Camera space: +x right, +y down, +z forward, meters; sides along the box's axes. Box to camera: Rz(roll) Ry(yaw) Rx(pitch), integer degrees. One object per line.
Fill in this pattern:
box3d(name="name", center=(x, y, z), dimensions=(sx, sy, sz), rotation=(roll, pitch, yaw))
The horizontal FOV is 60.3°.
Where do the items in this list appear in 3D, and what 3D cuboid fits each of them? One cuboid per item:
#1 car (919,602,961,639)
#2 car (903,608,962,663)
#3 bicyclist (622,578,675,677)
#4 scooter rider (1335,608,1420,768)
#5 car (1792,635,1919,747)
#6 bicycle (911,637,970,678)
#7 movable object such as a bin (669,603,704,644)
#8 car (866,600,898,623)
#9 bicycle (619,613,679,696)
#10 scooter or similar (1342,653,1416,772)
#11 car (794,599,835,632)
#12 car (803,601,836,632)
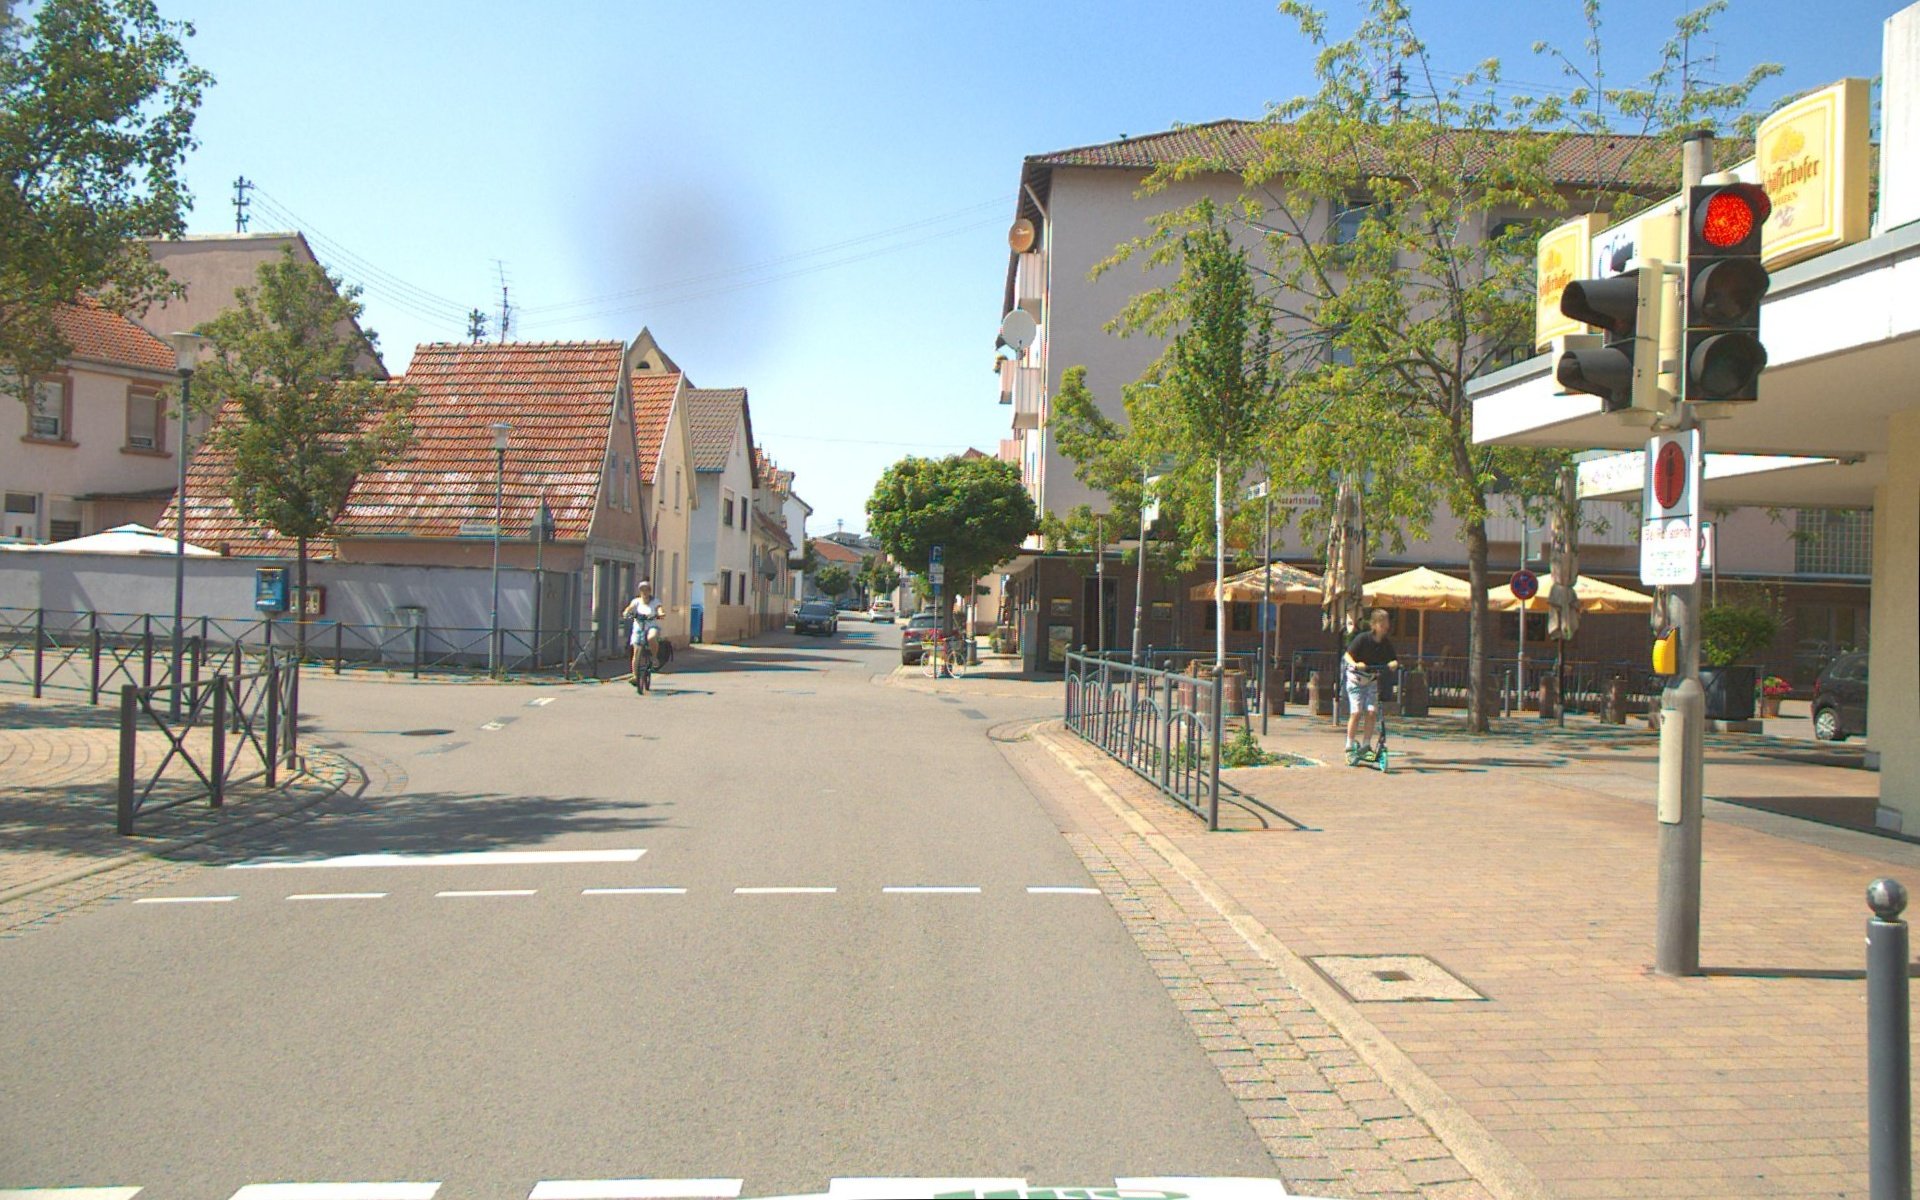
box3d(name="car", center=(-0.978, 0.999, 81.025), dimensions=(2.001, 1.718, 4.840), rotation=(1, 0, -1))
box3d(name="car", center=(-0.745, 0.989, 47.161), dimensions=(1.543, 1.479, 3.486), rotation=(1, -1, 1))
box3d(name="bicyclist", center=(-4.975, 0.436, 26.440), dimensions=(0.700, 1.533, 0.870), rotation=(1, -1, -4))
box3d(name="scooter rider", center=(3.674, 0.752, 14.615), dimensions=(0.452, 1.348, 1.133), rotation=(1, 0, 0))
box3d(name="car", center=(14.057, 1.311, 23.890), dimensions=(1.733, 1.536, 3.965), rotation=(2, -1, -7))
box3d(name="bicycle", center=(-0.464, 1.325, 38.545), dimensions=(1.386, 0.913, 0.463), rotation=(0, 0, 36))
box3d(name="movable object such as a bin", center=(-9.366, 0.804, 56.613), dimensions=(1.078, 1.389, 0.390), rotation=(1, -1, 3))
box3d(name="car", center=(-5.711, 0.845, 120.847), dimensions=(1.988, 1.626, 4.502), rotation=(1, 0, -7))
box3d(name="bicycle", center=(-4.989, 0.857, 26.639), dimensions=(0.694, 1.274, 1.970), rotation=(1, 0, -4))
box3d(name="scooter or similar", center=(3.683, 0.973, 14.573), dimensions=(0.402, 0.982, 0.960), rotation=(1, 0, 1))
box3d(name="car", center=(-6.842, 0.735, 78.072), dimensions=(1.629, 1.502, 4.133), rotation=(1, 0, -1))
box3d(name="car", center=(-7.165, 0.831, 84.620), dimensions=(1.630, 1.502, 3.447), rotation=(1, 0, -5))
